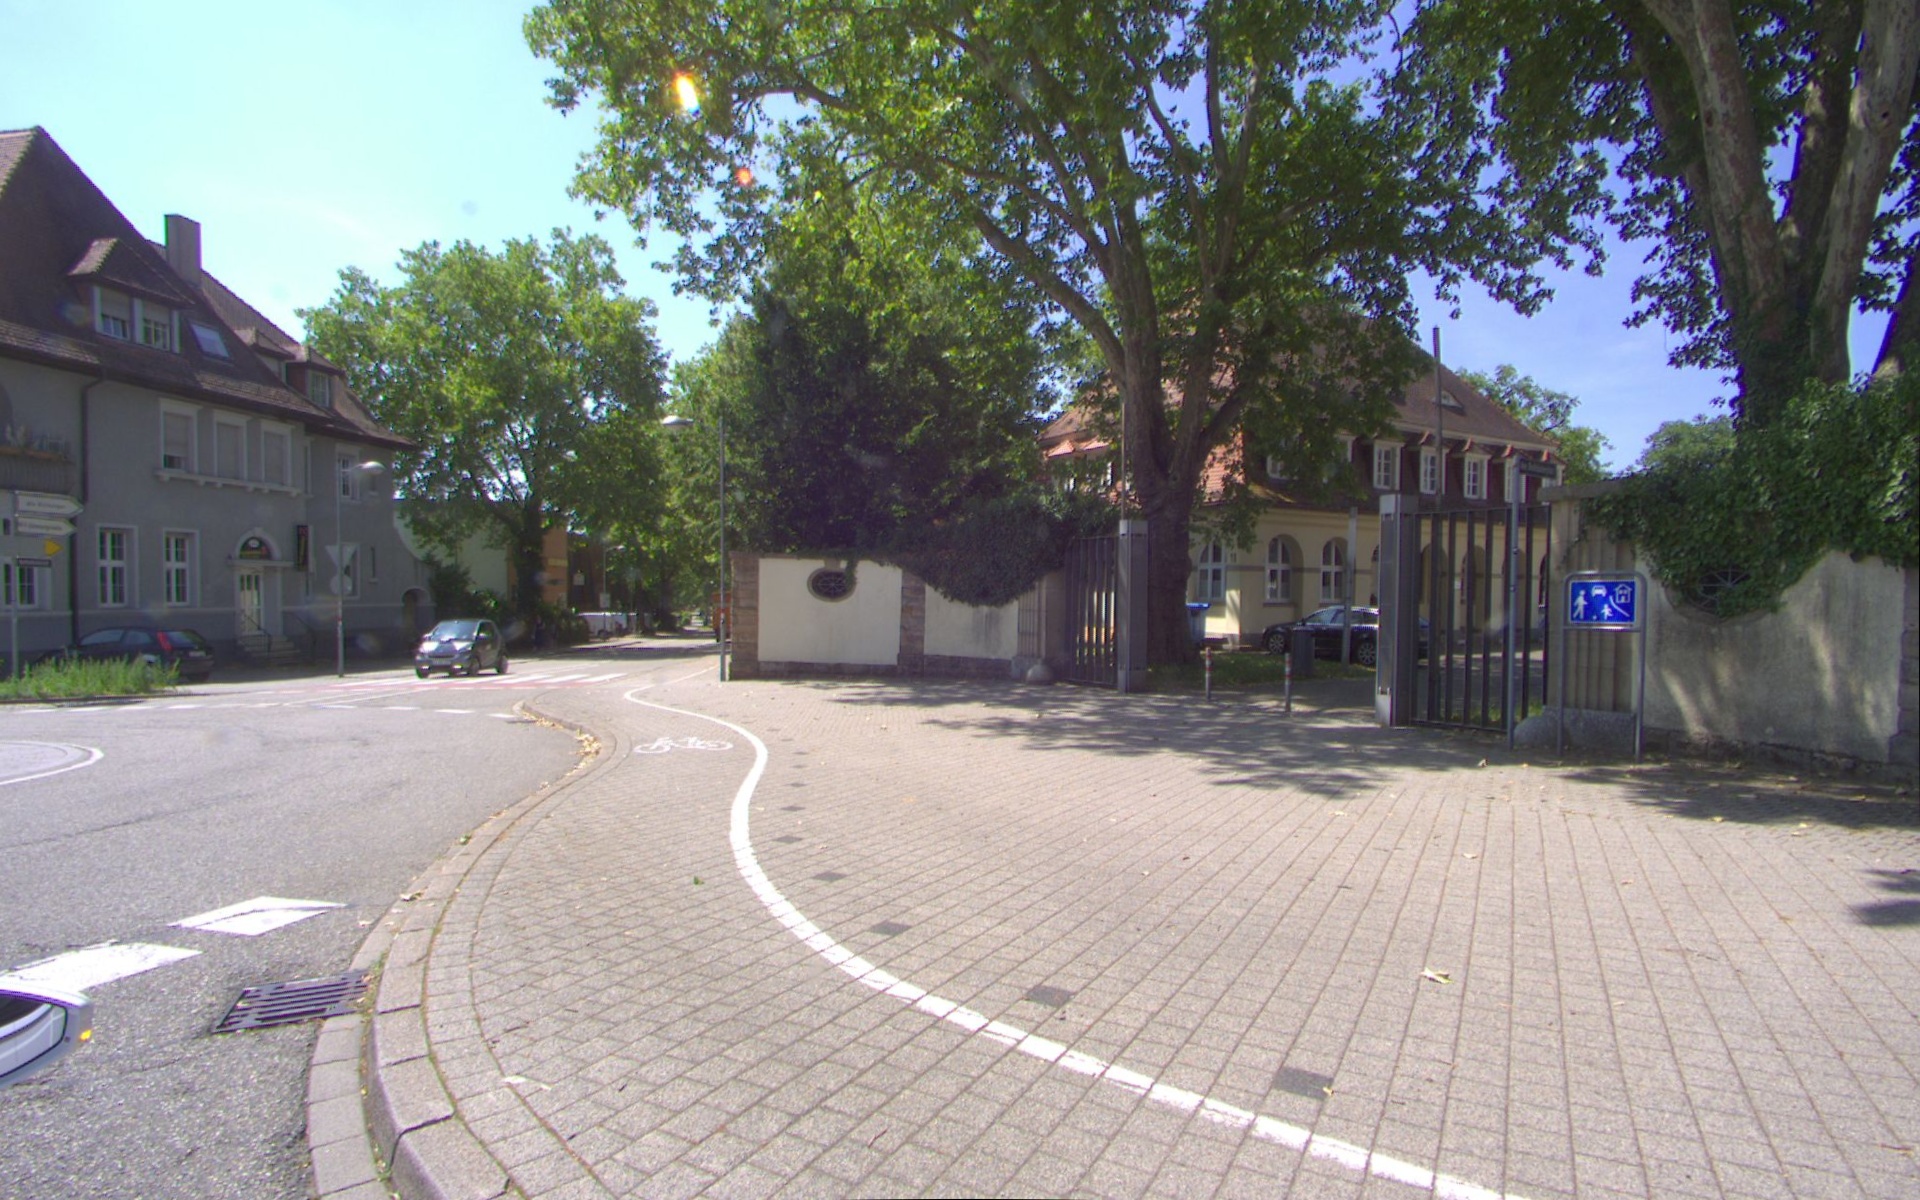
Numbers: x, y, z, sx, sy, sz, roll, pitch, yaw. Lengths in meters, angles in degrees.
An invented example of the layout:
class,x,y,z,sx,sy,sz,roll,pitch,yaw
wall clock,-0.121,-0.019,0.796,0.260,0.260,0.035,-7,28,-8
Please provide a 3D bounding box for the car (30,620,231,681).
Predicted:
class,x,y,z,sx,sy,sz,roll,pitch,yaw
car,-20.977,1.250,25.414,3.719,1.479,1.724,0,-1,3

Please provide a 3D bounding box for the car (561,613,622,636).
class,x,y,z,sx,sy,sz,roll,pitch,yaw
car,-27.244,1.816,74.100,3.925,1.535,1.867,2,-1,-11

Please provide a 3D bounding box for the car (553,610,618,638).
class,x,y,z,sx,sy,sz,roll,pitch,yaw
car,-26.043,1.651,69.718,3.925,1.816,1.867,2,-1,-11

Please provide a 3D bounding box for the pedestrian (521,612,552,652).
class,x,y,z,sx,sy,sz,roll,pitch,yaw
pedestrian,-18.851,1.416,44.626,0.857,1.765,1.112,0,0,4

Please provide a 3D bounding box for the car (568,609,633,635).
class,x,y,z,sx,sy,sz,roll,pitch,yaw
car,-27.489,1.680,76.671,4.355,1.827,1.902,2,-1,-11

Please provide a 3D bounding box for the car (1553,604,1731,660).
class,x,y,z,sx,sy,sz,roll,pitch,yaw
car,22.817,1.014,33.673,1.972,1.423,4.472,0,4,-31

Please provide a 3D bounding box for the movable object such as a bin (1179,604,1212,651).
class,x,y,z,sx,sy,sz,roll,pitch,yaw
movable object such as a bin,6.824,0.792,28.988,0.661,1.314,0.672,0,0,-41

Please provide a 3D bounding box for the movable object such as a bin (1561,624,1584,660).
class,x,y,z,sx,sy,sz,roll,pitch,yaw
movable object such as a bin,18.110,1.235,29.623,0.530,1.021,0.525,0,0,28

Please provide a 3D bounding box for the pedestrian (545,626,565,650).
class,x,y,z,sx,sy,sz,roll,pitch,yaw
pedestrian,-19.512,1.837,48.266,0.742,1.136,0.897,0,-1,-10

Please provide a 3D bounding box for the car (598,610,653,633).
class,x,y,z,sx,sy,sz,roll,pitch,yaw
car,-28.305,1.826,84.829,4.065,1.827,1.902,2,-1,-11

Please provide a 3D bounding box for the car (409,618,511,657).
class,x,y,z,sx,sy,sz,roll,pitch,yaw
car,-20.554,1.517,41.237,3.326,1.567,1.724,0,-1,3

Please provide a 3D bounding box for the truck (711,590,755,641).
class,x,y,z,sx,sy,sz,roll,pitch,yaw
truck,-14.957,1.082,66.229,2.333,3.173,5.769,0,-2,-8

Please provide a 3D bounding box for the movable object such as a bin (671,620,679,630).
class,x,y,z,sx,sy,sz,roll,pitch,yaw
movable object such as a bin,-29.325,2.542,103.042,0.613,1.062,0.620,0,0,0

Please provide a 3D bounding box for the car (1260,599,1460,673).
class,x,y,z,sx,sy,sz,roll,pitch,yaw
car,10.215,0.845,25.912,1.972,1.423,4.472,0,4,-31

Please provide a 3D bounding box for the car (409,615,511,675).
class,x,y,z,sx,sy,sz,roll,pitch,yaw
car,-13.672,1.206,27.541,1.539,1.550,2.789,0,-1,-4
